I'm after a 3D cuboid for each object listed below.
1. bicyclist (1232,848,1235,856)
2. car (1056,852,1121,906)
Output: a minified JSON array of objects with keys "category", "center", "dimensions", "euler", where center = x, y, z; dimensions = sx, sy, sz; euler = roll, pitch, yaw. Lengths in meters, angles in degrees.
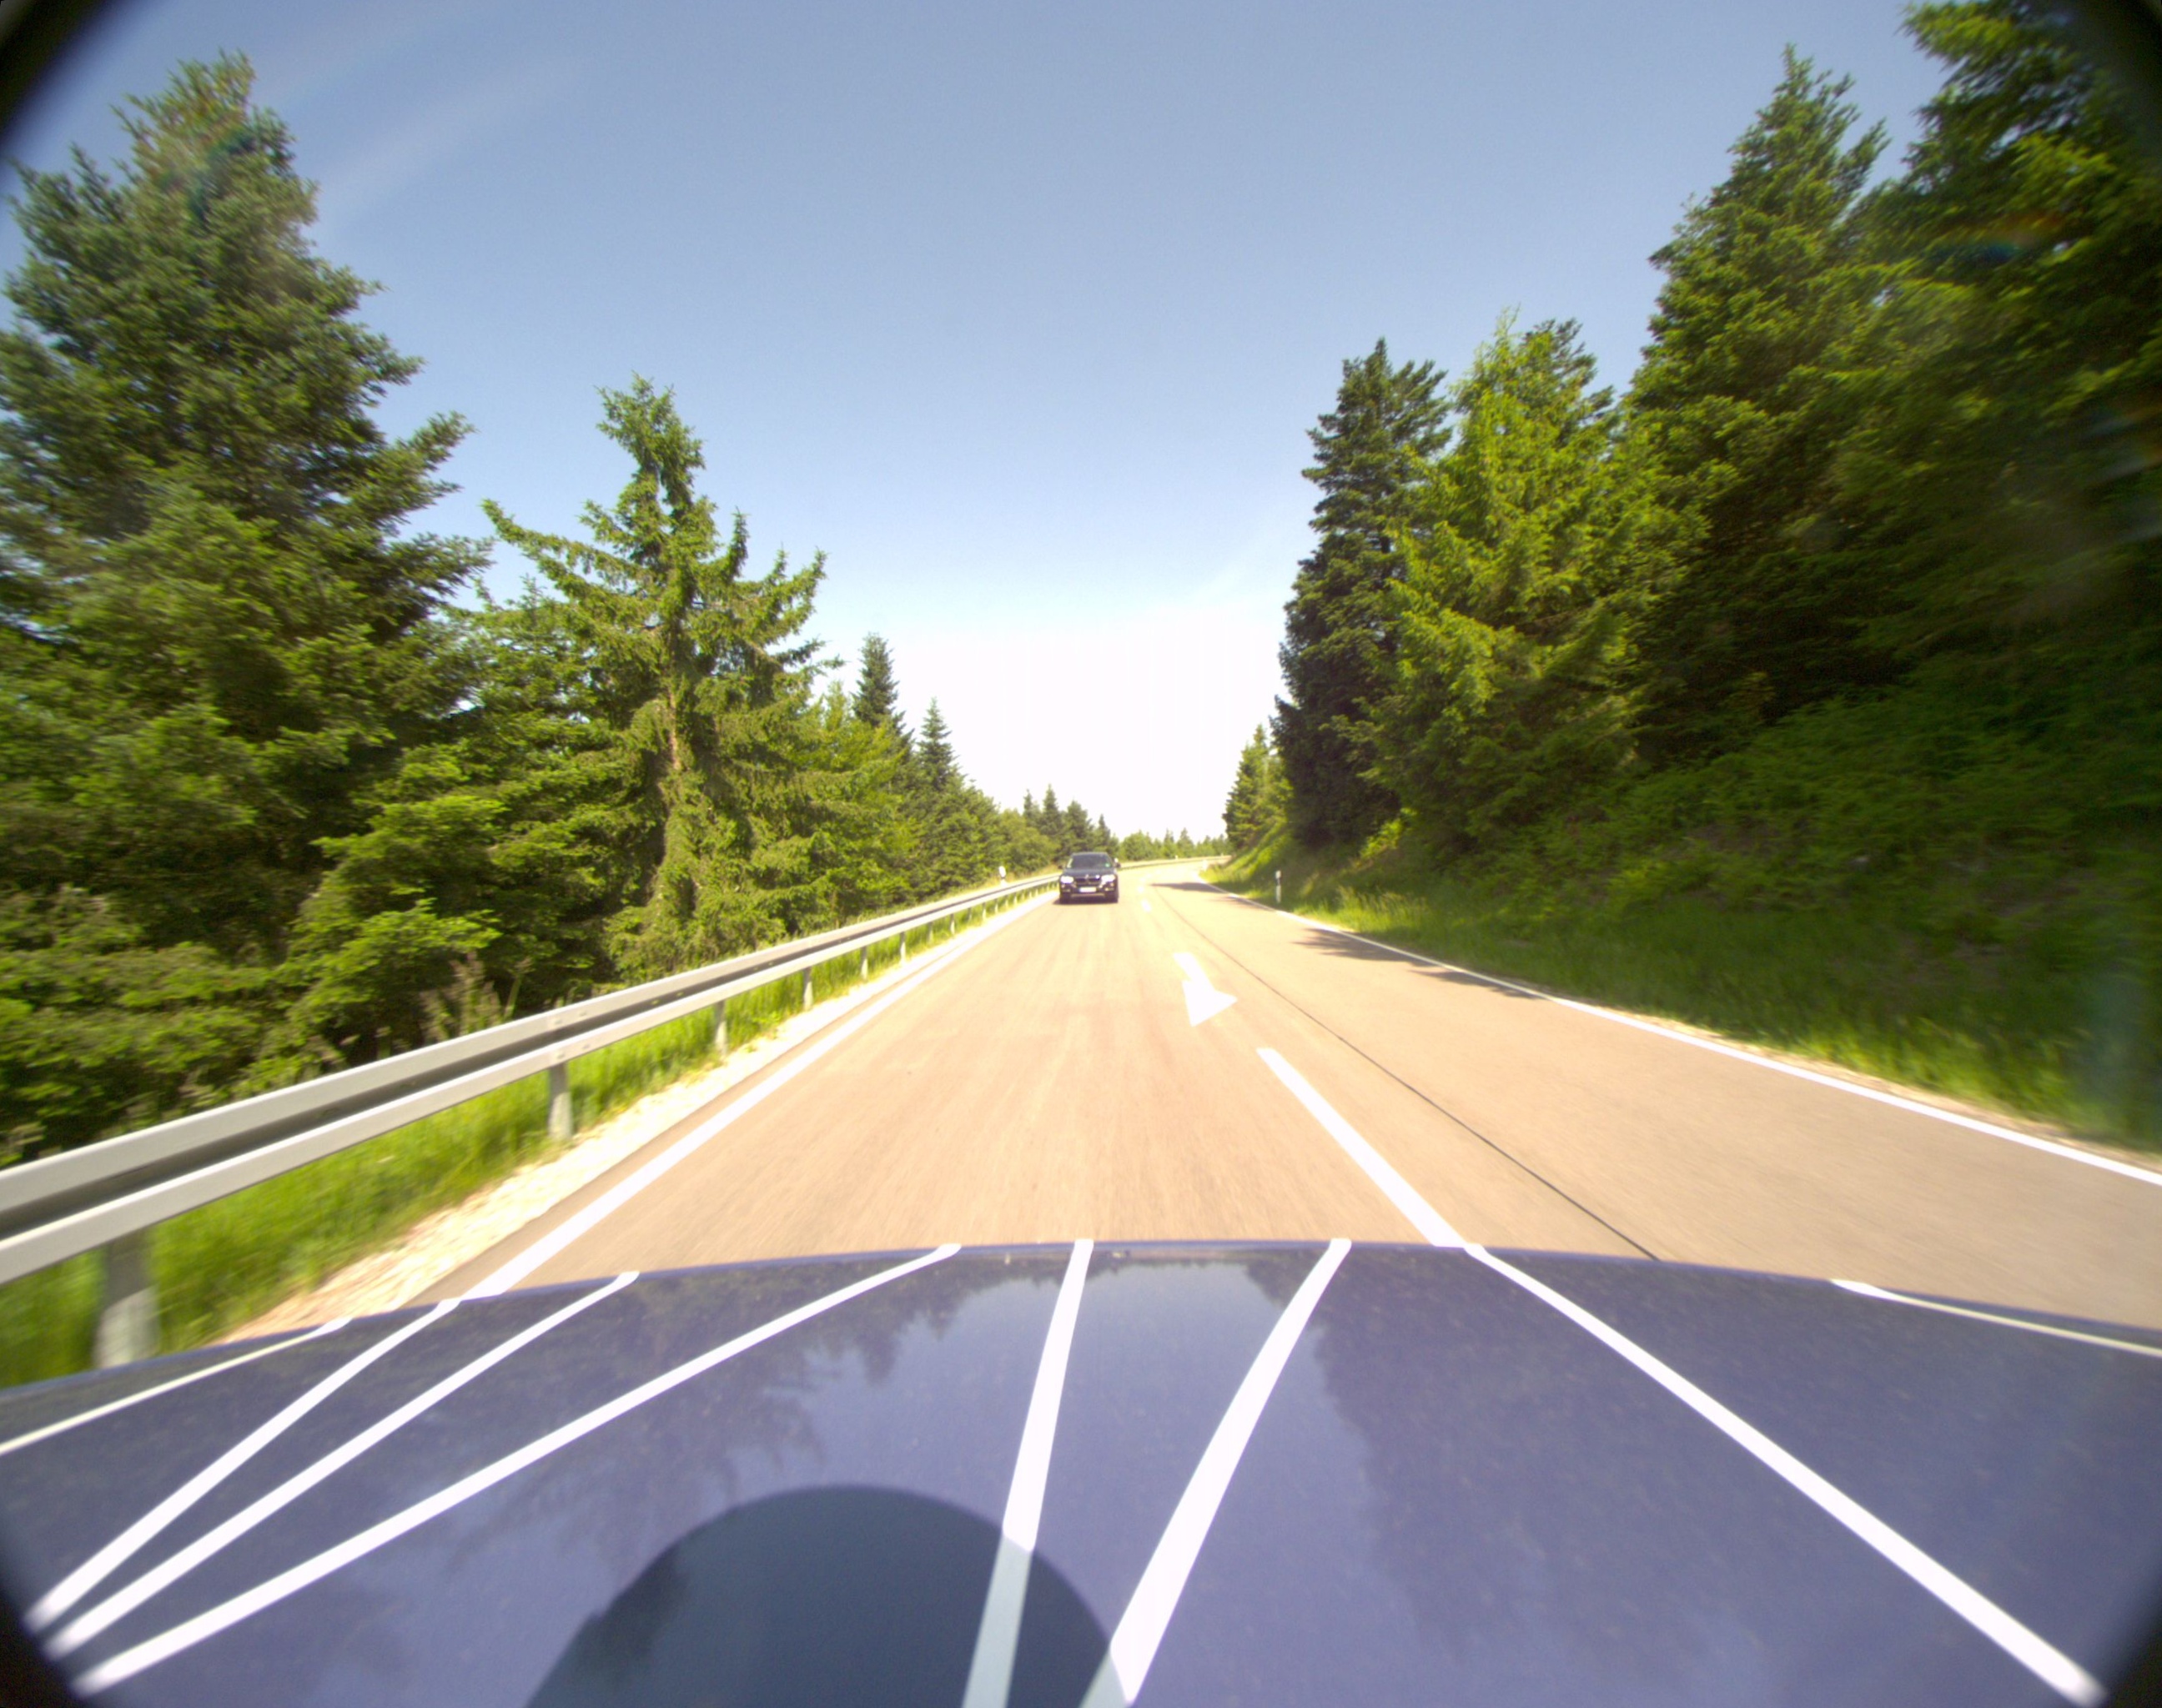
[{"category":"bicyclist","center":[26.905,-0.327,133.925],"dimensions":[0.542,1.442,0.984],"euler":[0,1,14]},{"category":"car","center":[0.320,0.792,27.200],"dimensions":[1.998,1.676,5.937],"euler":[-2,0,2]}]
